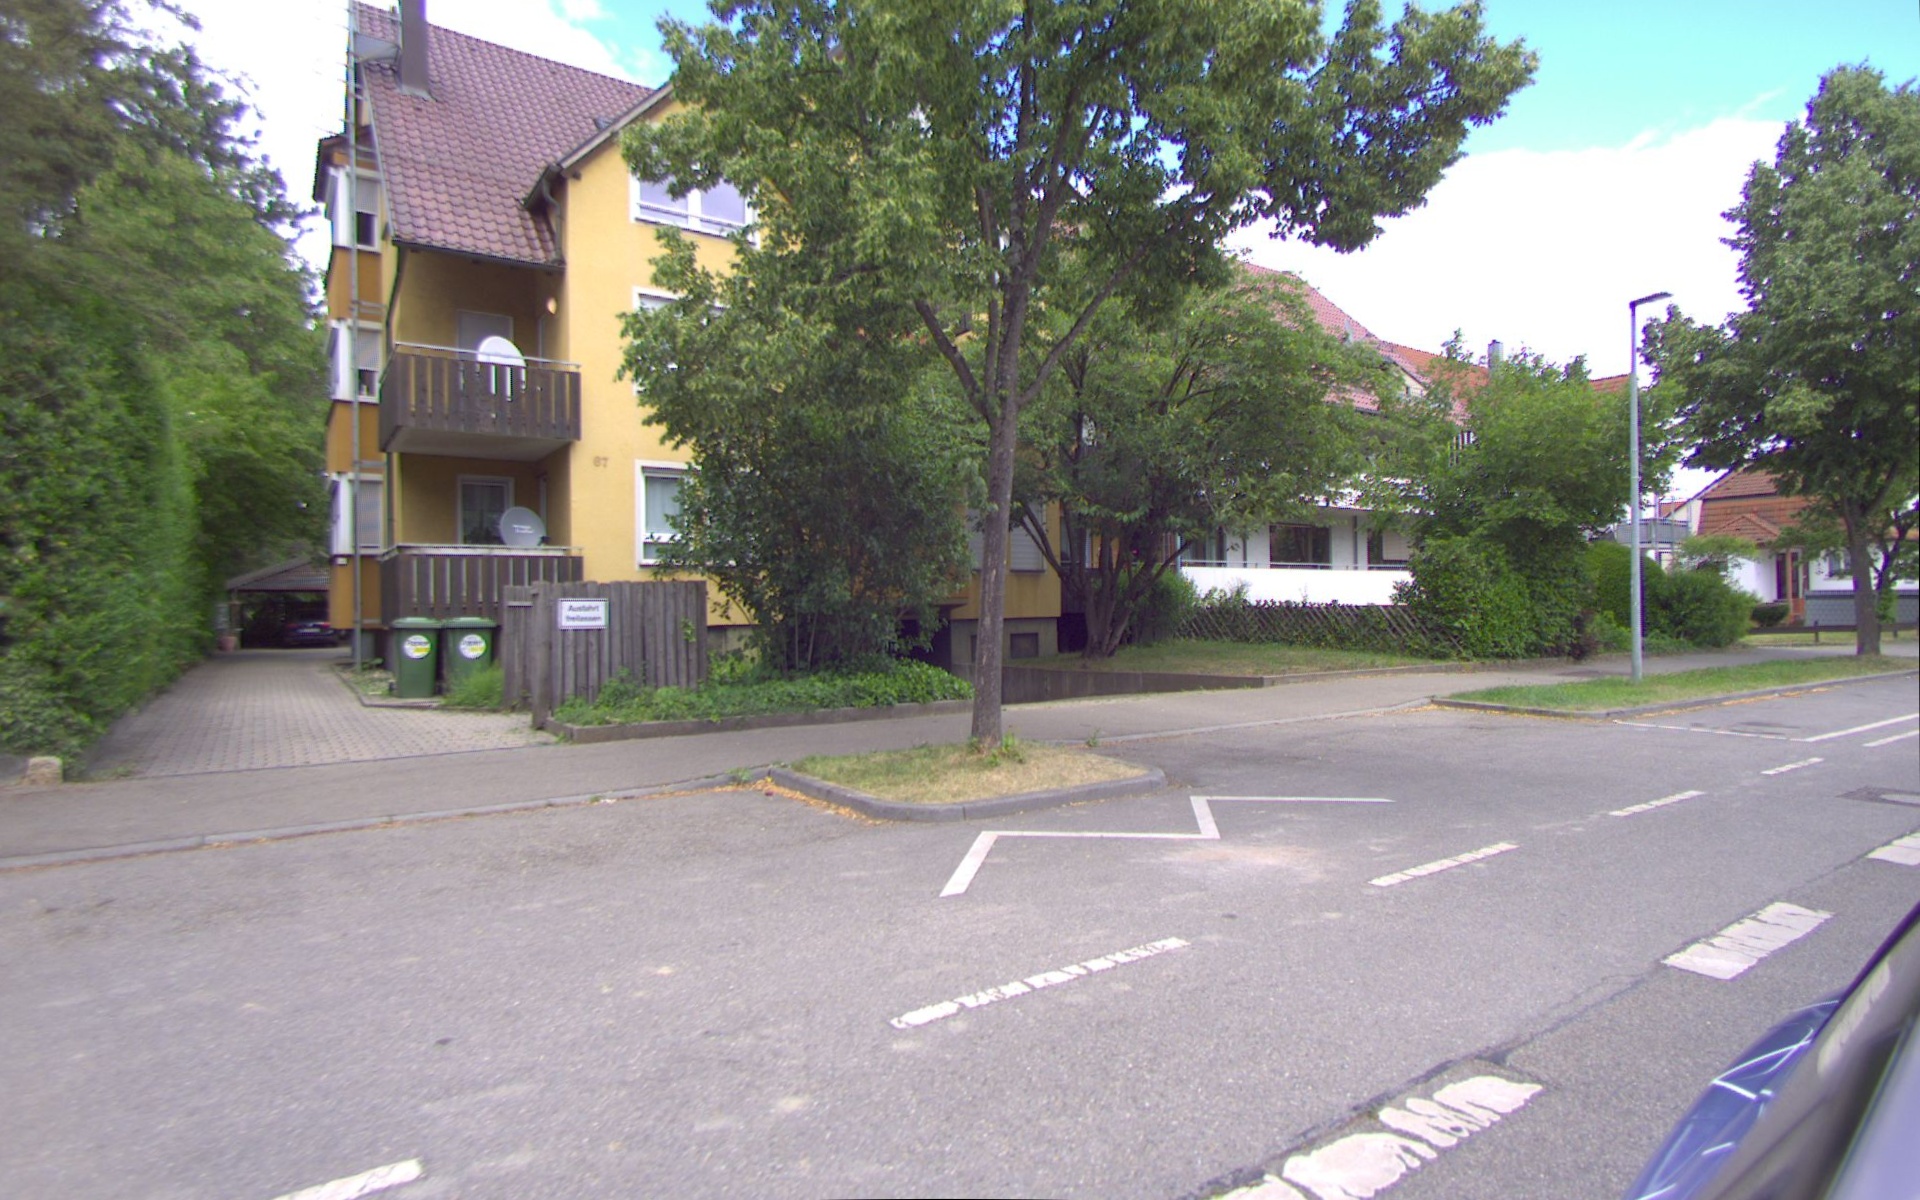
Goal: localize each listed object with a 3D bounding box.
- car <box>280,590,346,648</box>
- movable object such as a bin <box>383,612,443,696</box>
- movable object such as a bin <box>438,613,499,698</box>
[{"bbox_3d":[-24.119,0.665,37.685,1.961,2.039,4.001,0,0,-34],"label":"car"},{"bbox_3d":[-7.357,0.708,13.609,0.664,1.067,0.591,0,0,-34],"label":"movable object such as a bin"},{"bbox_3d":[-6.505,0.715,13.393,0.664,1.067,0.591,0,0,-34],"label":"movable object such as a bin"}]
